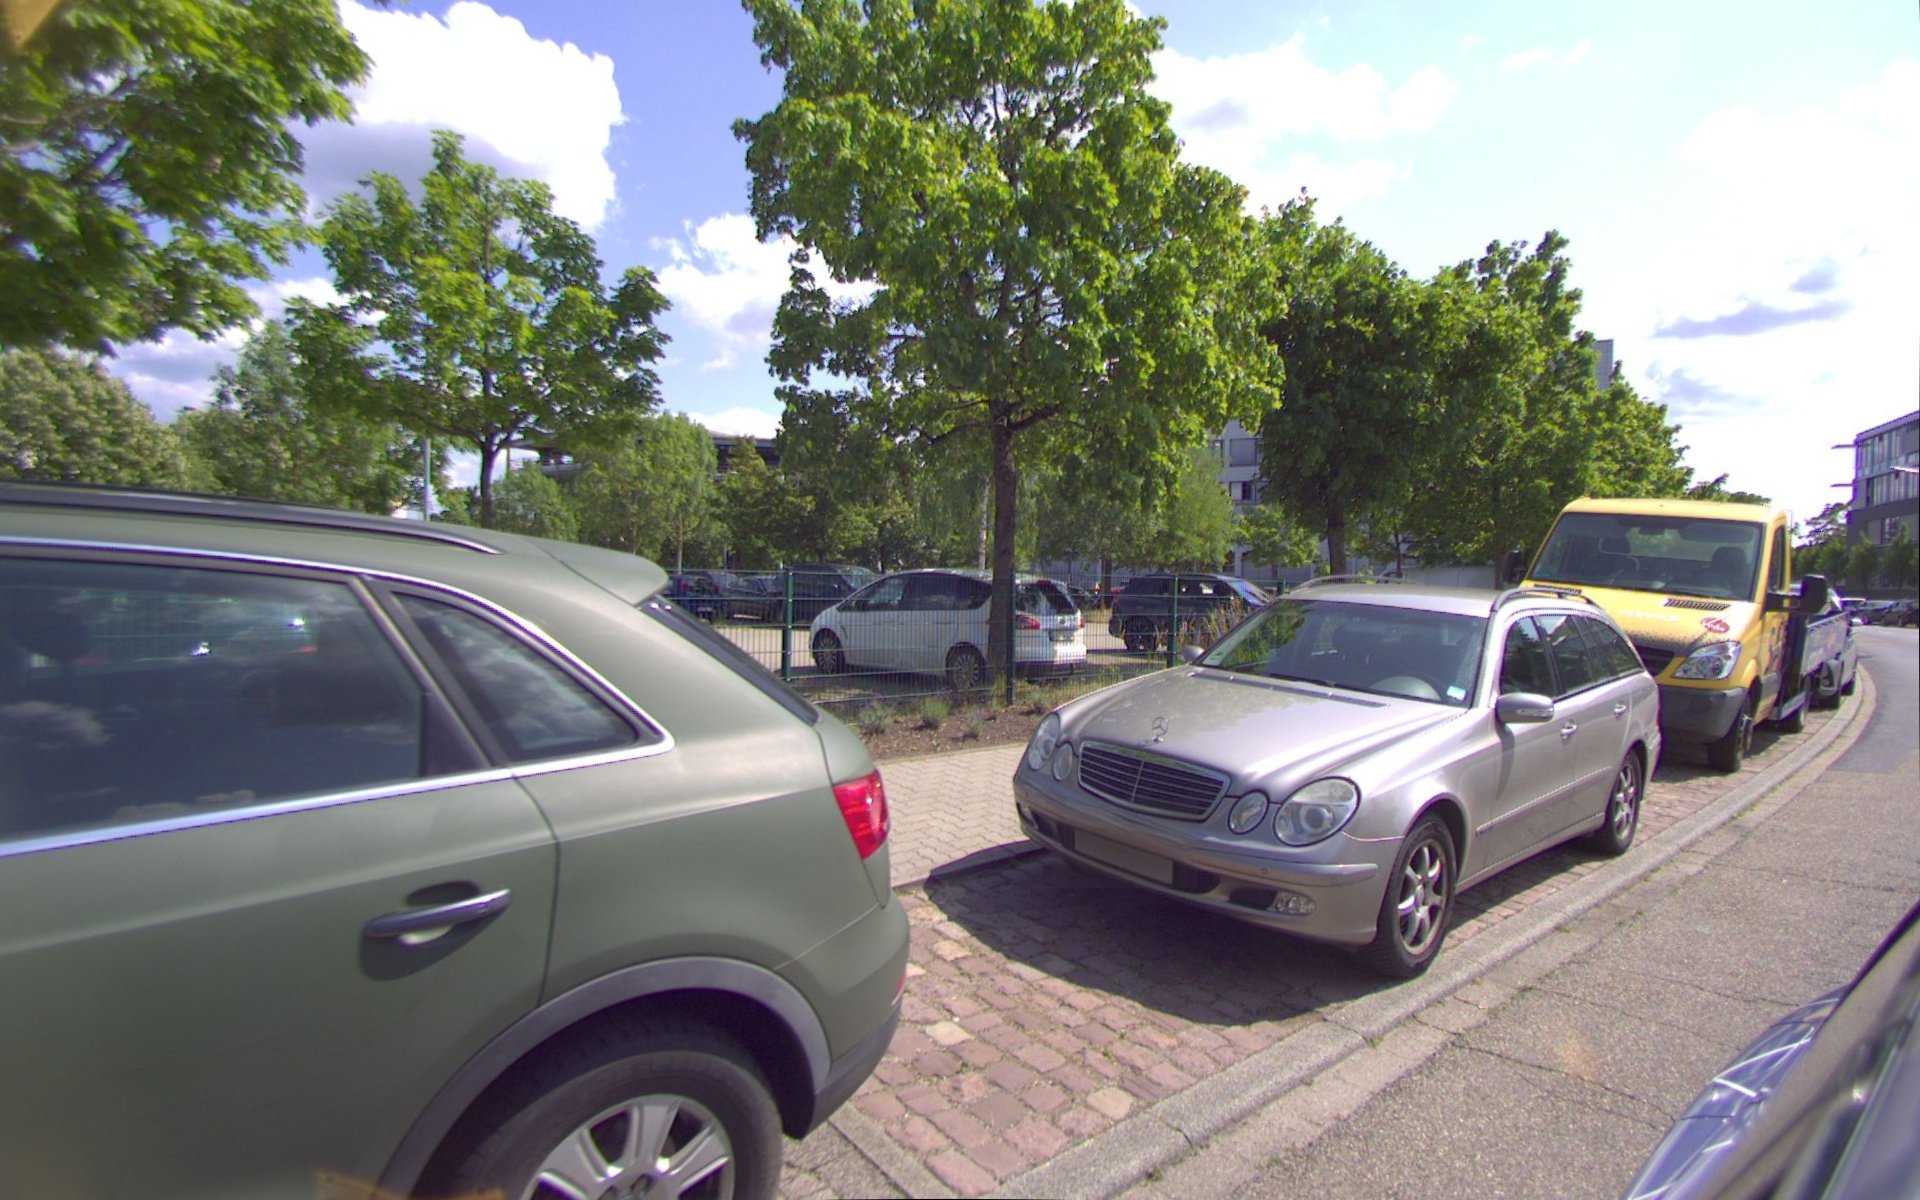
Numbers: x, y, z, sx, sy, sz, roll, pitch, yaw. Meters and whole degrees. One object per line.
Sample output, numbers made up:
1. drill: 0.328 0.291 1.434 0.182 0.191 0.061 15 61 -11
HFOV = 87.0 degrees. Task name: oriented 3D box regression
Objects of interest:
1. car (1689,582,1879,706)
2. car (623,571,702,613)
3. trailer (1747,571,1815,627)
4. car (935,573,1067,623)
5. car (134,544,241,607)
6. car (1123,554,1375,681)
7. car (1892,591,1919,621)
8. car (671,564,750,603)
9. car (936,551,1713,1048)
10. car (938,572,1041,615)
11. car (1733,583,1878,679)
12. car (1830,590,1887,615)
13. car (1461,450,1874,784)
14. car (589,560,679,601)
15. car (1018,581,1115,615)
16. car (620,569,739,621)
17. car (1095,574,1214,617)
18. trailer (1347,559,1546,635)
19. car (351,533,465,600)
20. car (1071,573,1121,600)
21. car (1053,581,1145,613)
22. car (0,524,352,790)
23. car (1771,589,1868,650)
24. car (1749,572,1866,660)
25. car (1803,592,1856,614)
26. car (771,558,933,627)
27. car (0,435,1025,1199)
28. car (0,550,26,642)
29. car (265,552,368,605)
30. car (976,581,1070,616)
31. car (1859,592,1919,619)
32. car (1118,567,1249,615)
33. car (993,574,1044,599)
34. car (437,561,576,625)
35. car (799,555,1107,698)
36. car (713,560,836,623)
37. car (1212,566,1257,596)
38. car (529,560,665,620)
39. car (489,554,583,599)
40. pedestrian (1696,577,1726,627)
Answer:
1. car: 12.071 0.522 14.741 3.884 1.513 1.687 -1 3 -45
2. car: -17.210 -0.446 58.427 5.337 2.328 2.034 0 0 44
3. trailer: 33.759 -0.066 41.709 1.740 2.092 3.898 5 3 34
4. car: 1.191 -0.103 31.127 1.698 1.455 4.169 0 1 -40
5. car: -23.396 -0.679 30.600 4.266 1.577 1.968 -4 -3 44
6. car: 5.685 0.243 20.252 4.330 1.689 1.829 13 9 41
7. car: 50.997 0.312 53.409 1.651 1.549 3.962 0 0 27
8. car: -12.219 -0.774 49.443 3.988 1.824 1.968 0 0 45
9. car: 2.400 0.570 5.596 5.081 1.494 1.878 -1 5 -43
10. car: 1.159 -0.302 41.289 3.984 1.687 1.829 2 1 42
11. car: 15.854 0.478 19.021 1.831 1.510 4.588 4 3 40
12. car: 55.870 0.156 63.009 1.649 1.500 3.488 0 0 24
13. car: 7.679 0.043 10.573 6.528 2.495 2.160 -1 3 -43
14. car: -13.328 -0.753 41.309 3.987 1.576 1.861 0 0 44
15. car: 4.711 -0.126 44.963 3.984 1.391 1.829 2 1 42
16. car: -8.530 -0.142 30.667 3.746 1.431 1.726 0 -2 42
17. car: 7.161 -0.195 37.543 3.983 1.440 1.777 2 1 40
18. trailer: 14.535 -0.156 30.384 5.040 2.108 2.032 2 2 40
19. car: -19.005 -1.073 34.747 4.927 2.130 2.077 0 0 44
20. car: 8.443 -0.835 62.641 1.937 1.566 3.966 0 2 26
21. car: 6.438 -0.149 47.016 3.984 1.391 1.693 2 1 42
22. car: -6.248 0.265 8.241 1.874 1.613 3.887 -1 2 -36
23. car: 24.618 0.491 29.138 1.838 1.478 4.802 4 3 38
24. car: 19.954 0.294 23.835 1.849 1.787 5.003 4 3 41
25. car: 58.097 0.164 67.699 1.654 1.422 3.965 1 1 25
26. car: -2.916 -0.228 26.670 4.479 1.661 1.810 2 1 44
27. car: -2.198 0.536 1.604 4.486 1.627 1.838 0 5 -39
28. car: -15.386 -0.050 14.835 1.808 1.413 4.019 0 1 -33
29. car: -20.660 -0.653 32.430 3.988 1.576 1.968 0 0 45
30. car: 2.646 -0.097 43.081 3.984 1.391 1.461 2 1 42
31. car: 53.459 0.303 58.183 1.651 1.414 4.067 0 1 27
32. car: 8.935 -0.403 40.764 4.845 1.788 1.887 2 2 41
33. car: 3.850 -0.890 65.813 1.937 1.566 3.966 0 2 26
34. car: -12.228 -0.231 27.184 4.268 1.576 1.969 2 2 44
35. car: -0.225 0.247 14.319 4.315 1.641 1.737 4 3 42
36. car: -6.228 -0.324 33.723 4.078 1.959 1.969 1 1 42
37. car: 15.949 -1.103 58.688 1.718 1.701 4.494 0 1 25
38. car: -10.321 -0.330 28.651 4.268 1.576 1.969 2 2 44
39. car: -15.869 -0.845 37.776 3.987 1.576 1.861 0 0 44
40. pedestrian: 26.757 0.060 36.071 0.719 1.714 0.730 5 3 36
